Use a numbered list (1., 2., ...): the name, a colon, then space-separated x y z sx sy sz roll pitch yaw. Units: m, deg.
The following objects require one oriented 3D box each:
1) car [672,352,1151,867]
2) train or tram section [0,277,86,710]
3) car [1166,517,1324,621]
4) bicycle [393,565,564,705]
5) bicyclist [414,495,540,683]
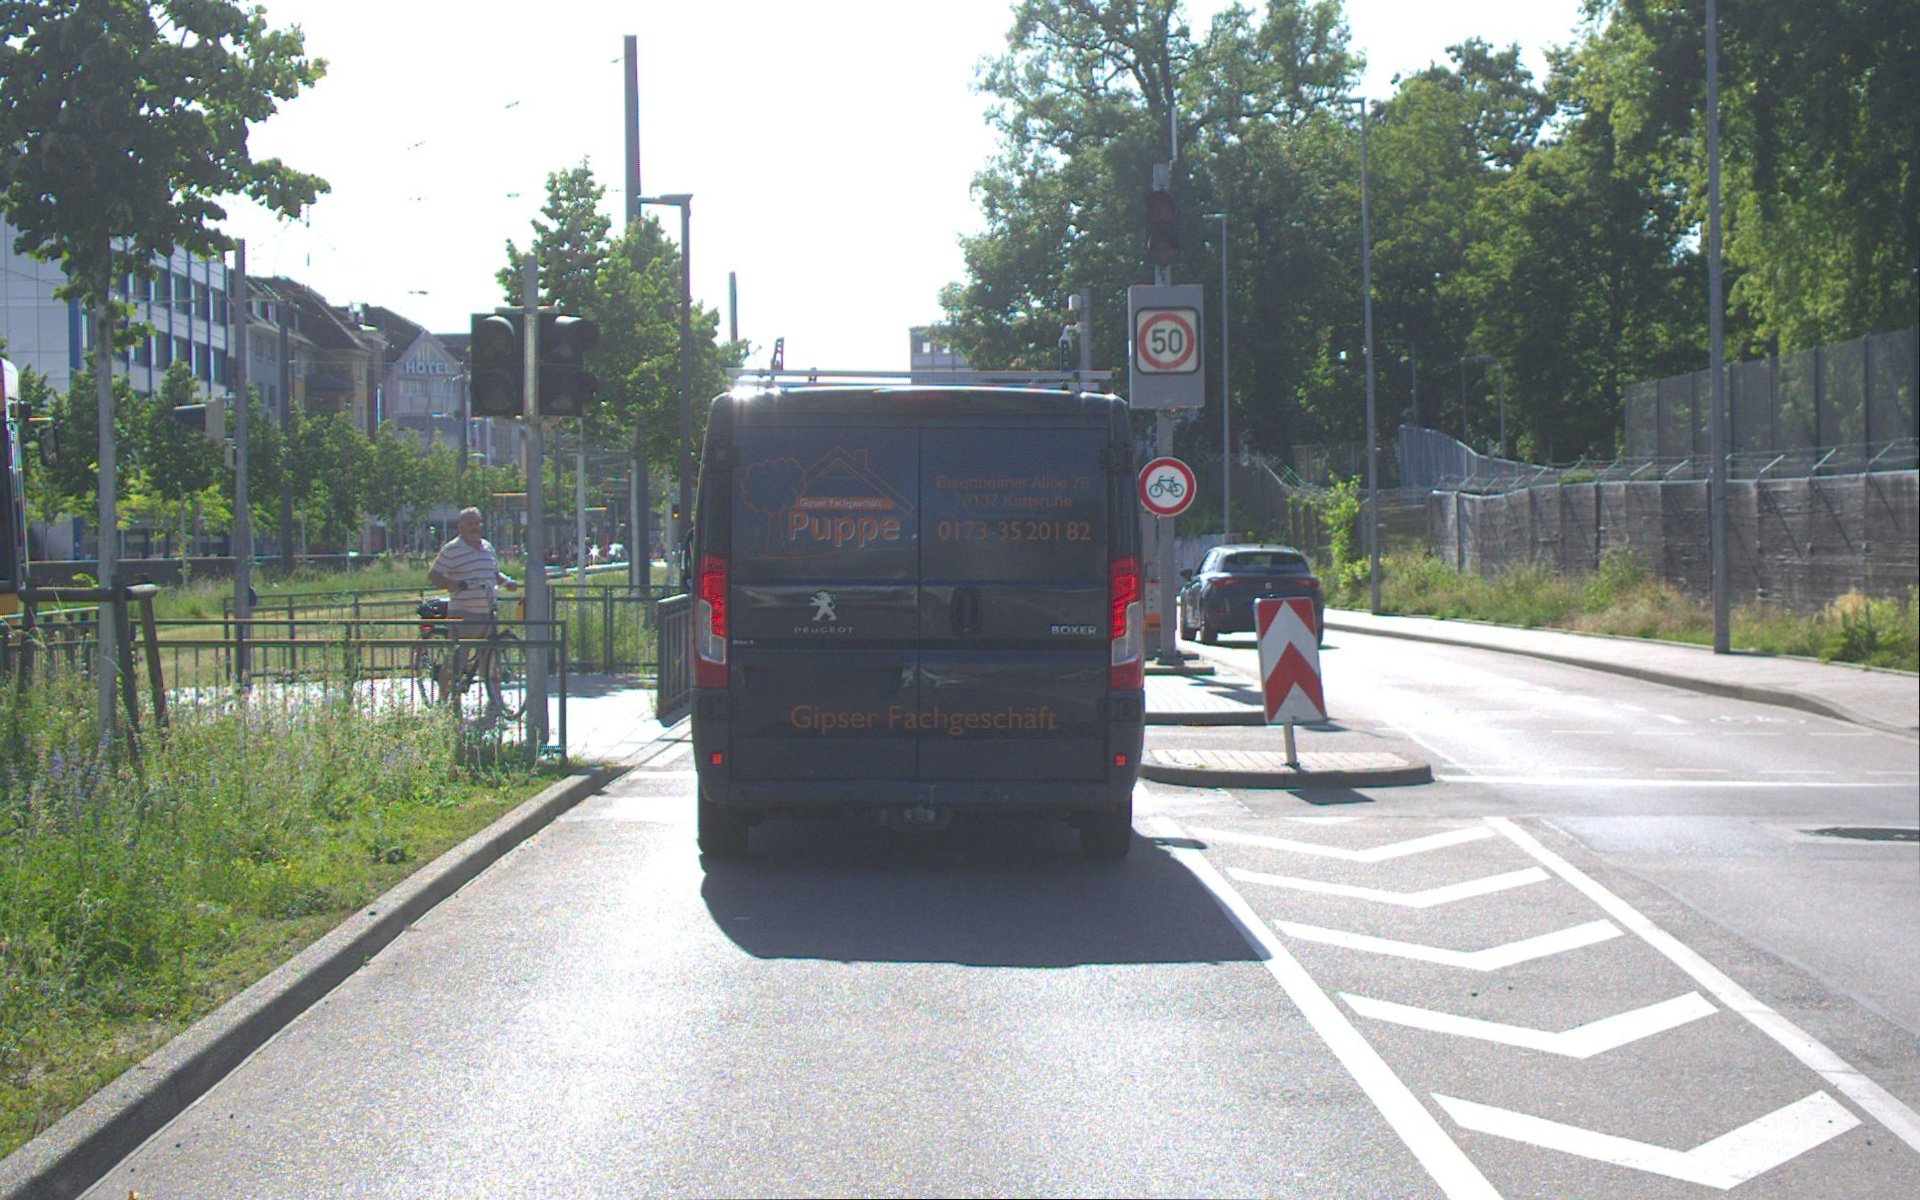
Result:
1. car: -0.273 0.005 16.982 2.082 2.241 4.000 0 1 -2
2. train or tram section: -9.056 -0.852 26.271 1.993 3.656 11.684 0 1 -1
3. car: 4.117 -0.471 50.226 1.763 1.457 4.001 0 1 -3
4. bicycle: -3.955 0.265 28.112 0.732 1.087 2.083 0 1 -27
5. bicyclist: -3.944 -0.097 28.063 0.826 1.507 0.730 0 1 -27
